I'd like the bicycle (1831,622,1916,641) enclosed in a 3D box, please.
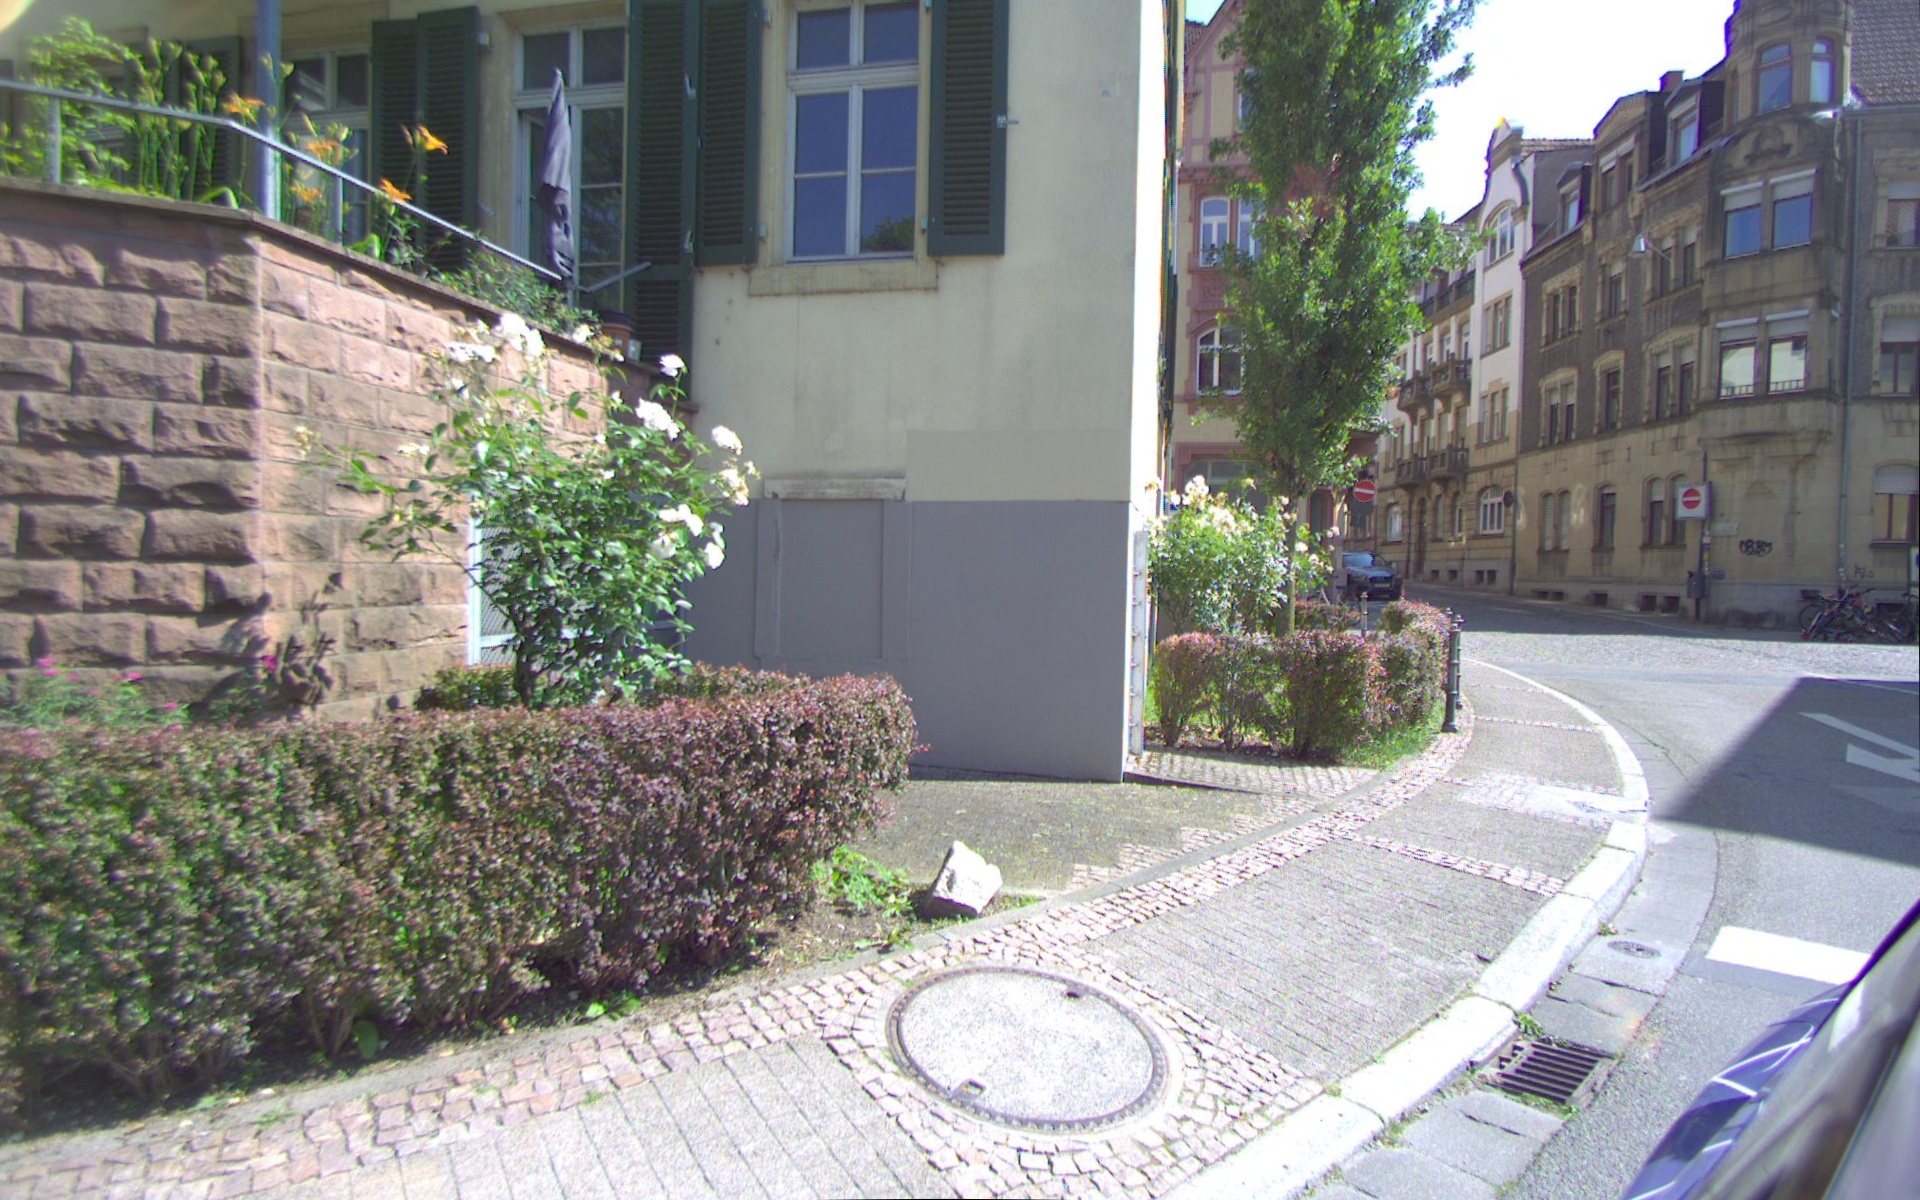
[{"bbox_3d":[19.435,0.657,21.562,1.068,0.291,1.114,2,3,27],"label":"bicycle"}]

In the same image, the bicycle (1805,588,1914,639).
[{"bbox_3d":[19.463,0.267,21.948,0.285,1.080,1.642,-42,1,3],"label":"bicycle"}]

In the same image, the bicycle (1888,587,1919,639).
[{"bbox_3d":[20.398,0.282,21.095,0.280,1.099,1.646,3,-1,-15],"label":"bicycle"}]

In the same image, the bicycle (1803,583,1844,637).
[{"bbox_3d":[18.849,0.198,22.109,0.283,1.099,1.628,-2,1,26],"label":"bicycle"}]

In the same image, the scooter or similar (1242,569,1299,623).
[{"bbox_3d":[7.302,-0.099,23.824,1.168,1.250,0.442,1,2,0],"label":"scooter or similar"}]

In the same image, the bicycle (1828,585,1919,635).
[{"bbox_3d":[19.951,0.207,21.911,0.285,1.080,1.642,-42,1,3],"label":"bicycle"}]

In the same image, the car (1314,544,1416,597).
[{"bbox_3d":[13.595,-1.068,34.251,1.828,1.601,4.261,-1,4,2],"label":"car"}]

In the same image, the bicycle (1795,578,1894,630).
[{"bbox_3d":[20.634,0.084,23.635,1.617,1.098,0.495,2,6,13],"label":"bicycle"}]

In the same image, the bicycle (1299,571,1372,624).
[{"bbox_3d":[8.961,-0.086,24.248,0.495,1.160,1.798,1,3,-23],"label":"bicycle"}]
